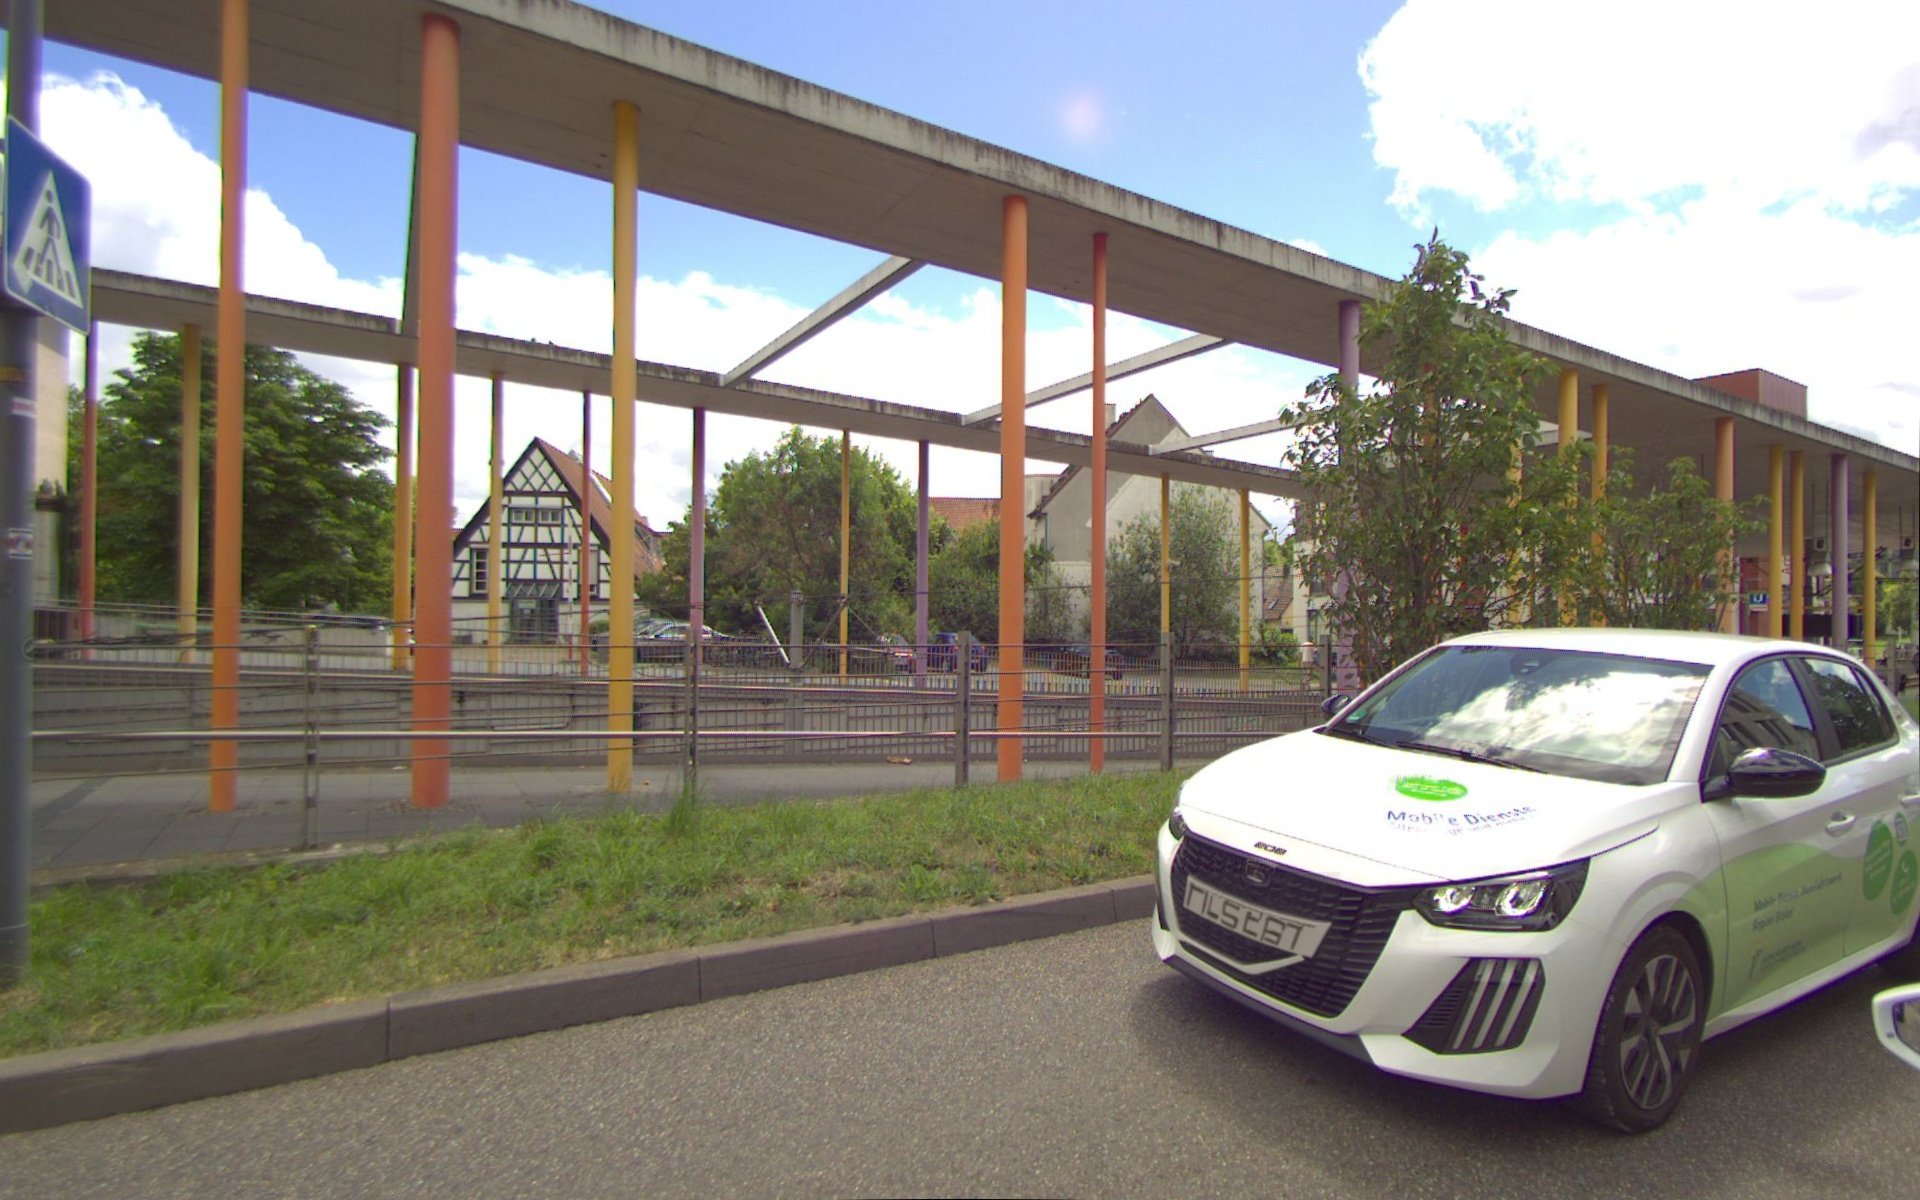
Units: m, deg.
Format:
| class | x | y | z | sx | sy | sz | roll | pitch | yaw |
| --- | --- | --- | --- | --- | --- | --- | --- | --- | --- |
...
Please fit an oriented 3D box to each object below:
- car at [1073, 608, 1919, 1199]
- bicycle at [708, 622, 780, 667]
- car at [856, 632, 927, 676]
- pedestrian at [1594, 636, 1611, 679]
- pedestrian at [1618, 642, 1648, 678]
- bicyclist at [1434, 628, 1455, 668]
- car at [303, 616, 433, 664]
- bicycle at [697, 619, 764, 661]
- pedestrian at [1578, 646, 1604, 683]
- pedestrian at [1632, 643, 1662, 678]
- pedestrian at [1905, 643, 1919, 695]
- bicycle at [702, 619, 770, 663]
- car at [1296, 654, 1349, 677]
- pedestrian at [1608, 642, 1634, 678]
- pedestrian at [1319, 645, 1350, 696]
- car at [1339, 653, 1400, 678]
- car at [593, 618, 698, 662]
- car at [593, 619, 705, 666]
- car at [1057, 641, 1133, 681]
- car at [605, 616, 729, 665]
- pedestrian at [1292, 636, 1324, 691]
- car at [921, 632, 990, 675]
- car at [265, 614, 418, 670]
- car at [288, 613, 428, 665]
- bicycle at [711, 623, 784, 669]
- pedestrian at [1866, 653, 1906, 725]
| class | x | y | z | sx | sy | sz | roll | pitch | yaw |
| --- | --- | --- | --- | --- | --- | --- | --- | --- | --- |
| car | 2.560 | 0.821 | 4.190 | 3.863 | 1.488 | 1.802 | 1 | 0 | -31 |
| bicycle | -6.544 | 1.347 | 30.479 | 2.029 | 1.286 | 0.531 | 3 | -1 | -19 |
| car | -2.559 | 1.938 | 36.583 | 1.698 | 1.354 | 3.986 | 3 | -1 | -16 |
| pedestrian | 28.608 | 2.560 | 44.695 | 0.487 | 1.845 | 0.479 | 0 | 1 | -35 |
| pedestrian | 27.608 | 2.456 | 41.204 | 0.694 | 1.397 | 0.818 | 0 | 1 | -31 |
| bicyclist | 20.224 | 1.991 | 41.931 | 0.673 | 1.614 | 0.481 | 3 | -1 | -30 |
| car | -21.875 | 1.444 | 37.295 | 3.944 | 1.692 | 1.894 | 0 | 0 | -24 |
| bicycle | -7.452 | 1.295 | 32.689 | 2.029 | 1.286 | 0.531 | 3 | -1 | -19 |
| pedestrian | 25.019 | 2.556 | 39.820 | 0.694 | 1.397 | 0.648 | 0 | 1 | -31 |
| pedestrian | 28.500 | 2.499 | 41.677 | 0.694 | 1.397 | 0.818 | 0 | 1 | -31 |
| pedestrian | 30.718 | 2.196 | 32.075 | 0.629 | 1.636 | 0.626 | 0 | 1 | -31 |
| bicycle | -7.155 | 1.314 | 32.099 | 2.029 | 1.286 | 0.531 | 3 | -1 | -19 |
| car | 22.800 | 4.164 | 63.302 | 1.617 | 1.341 | 3.715 | 3 | -5 | -8 |
| pedestrian | 26.820 | 2.436 | 40.774 | 0.694 | 1.397 | 0.648 | 0 | 1 | -31 |
| pedestrian | 12.884 | 2.428 | 34.564 | 0.722 | 1.683 | 0.638 | 3 | -1 | -32 |
| car | 23.661 | 3.816 | 58.189 | 1.617 | 1.341 | 3.715 | 3 | -5 | -8 |
| car | -12.841 | 1.628 | 41.026 | 3.939 | 1.595 | 1.907 | 3 | -1 | -19 |
| car | -11.975 | 1.647 | 38.736 | 3.939 | 1.595 | 1.907 | 3 | -1 | -19 |
| car | 5.423 | 2.434 | 40.762 | 1.545 | 1.354 | 3.986 | 3 | -1 | -16 |
| car | -10.714 | 1.480 | 36.790 | 4.202 | 1.595 | 1.907 | 3 | -1 | -19 |
| pedestrian | 12.262 | 2.244 | 35.415 | 0.791 | 1.908 | 0.638 | 3 | -1 | -32 |
| car | -0.227 | 2.000 | 38.243 | 1.545 | 1.419 | 3.986 | 3 | -1 | -16 |
| car | -19.891 | 1.317 | 32.508 | 3.944 | 1.692 | 1.894 | 0 | 0 | -24 |
| car | -20.865 | 1.319 | 34.998 | 3.944 | 1.692 | 1.894 | 0 | 0 | -24 |
| bicycle | -6.305 | 1.366 | 29.825 | 2.029 | 1.286 | 0.531 | 3 | -1 | -19 |
| pedestrian | 24.804 | 2.375 | 26.904 | 0.702 | 1.854 | 0.584 | 3 | -1 | -30 |
